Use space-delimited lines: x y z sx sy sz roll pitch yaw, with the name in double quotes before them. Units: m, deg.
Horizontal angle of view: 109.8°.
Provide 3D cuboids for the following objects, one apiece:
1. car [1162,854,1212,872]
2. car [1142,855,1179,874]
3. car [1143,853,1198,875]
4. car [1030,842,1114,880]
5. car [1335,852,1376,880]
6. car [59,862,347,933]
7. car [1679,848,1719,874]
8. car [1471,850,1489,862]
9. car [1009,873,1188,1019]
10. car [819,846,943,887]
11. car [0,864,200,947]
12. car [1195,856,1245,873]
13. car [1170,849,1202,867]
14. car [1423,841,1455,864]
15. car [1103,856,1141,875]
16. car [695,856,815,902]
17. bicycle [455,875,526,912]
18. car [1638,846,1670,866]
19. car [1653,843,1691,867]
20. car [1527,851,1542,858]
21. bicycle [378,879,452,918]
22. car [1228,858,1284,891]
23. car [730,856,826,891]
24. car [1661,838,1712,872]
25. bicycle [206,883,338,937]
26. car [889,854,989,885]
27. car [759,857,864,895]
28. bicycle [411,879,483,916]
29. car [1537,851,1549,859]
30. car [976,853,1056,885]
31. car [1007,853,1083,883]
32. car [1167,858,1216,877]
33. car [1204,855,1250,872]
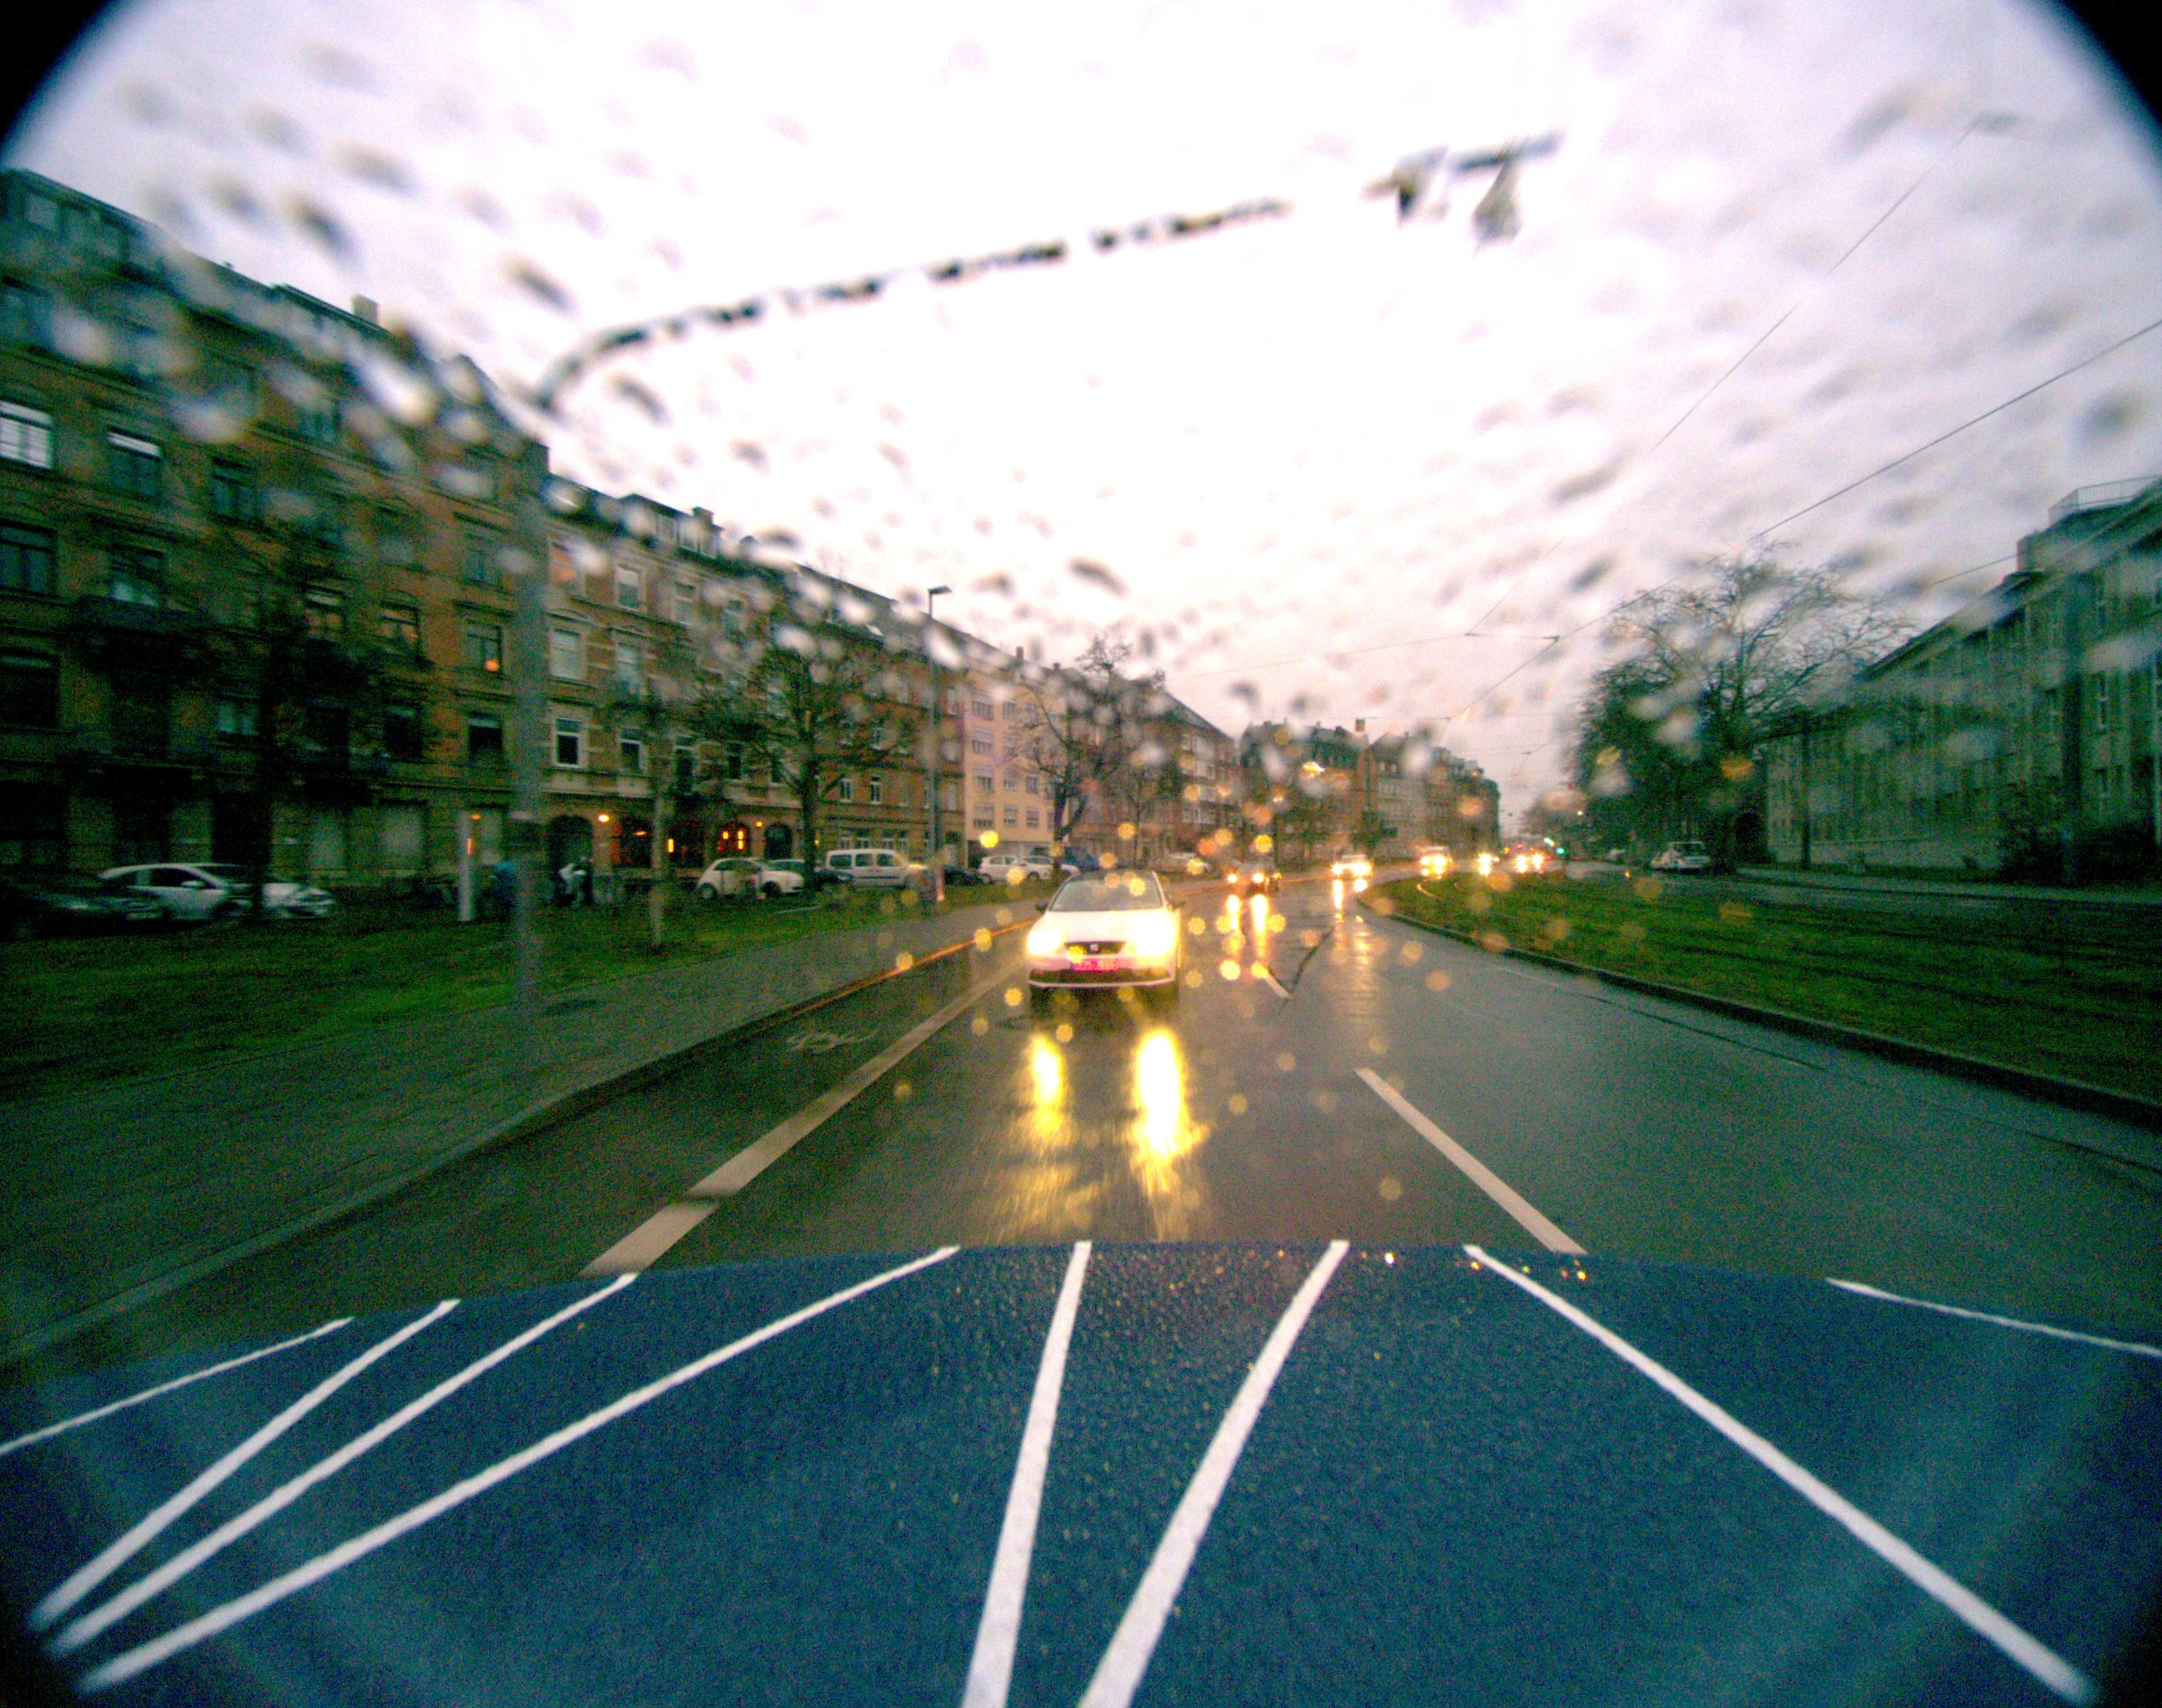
"car" 8.116 0.680 58.260 3.761 1.325 1.602 0 1 9
"car" 7.526 0.983 71.564 1.690 1.534 4.008 -3 0 35
"car" 6.562 0.731 55.753 3.870 1.397 1.695 -3 0 4
"car" -0.565 0.396 44.145 4.721 1.971 1.798 -2 0 -5
"car" 18.061 0.744 49.887 1.671 1.650 4.155 -3 0 31
"car" -18.185 0.862 15.895 3.857 1.329 1.698 -1 0 -3
"car" 37.150 0.418 45.744 1.557 1.420 2.960 -1 1 33
"car" 59.753 0.252 113.790 1.646 1.739 3.562 0 0 40
"car" 0.424 1.042 9.930 1.714 1.404 3.682 -3 0 10
"car" -8.277 0.502 31.710 4.660 1.583 1.777 1 1 1
"car" -18.710 0.921 13.596 3.743 1.346 1.677 -2 -1 -4
"car" 11.305 0.841 61.920 3.763 1.271 1.602 -1 0 2
"car" 10.577 0.398 76.397 1.670 1.693 3.472 -3 0 37
"car" 39.175 -0.211 83.117 2.125 2.366 5.649 -3 0 36
"car" 3.565 0.986 66.188 1.470 1.534 3.880 0 0 35
"car" -11.416 0.867 26.751 3.463 1.434 1.615 -2 0 4
"bicycle" -16.420 1.082 21.121 2.165 0.960 0.627 0 1 26
"car" 48.201 0.148 63.971 1.612 1.650 3.617 -1 0 28
"car" 45.114 0.086 58.072 1.823 1.645 3.866 -3 0 32
"car" 84.341 0.082 141.328 1.892 1.404 3.955 0 0 40
"bicycle" -17.224 1.156 19.652 2.165 0.960 0.627 -2 -2 26
"car" 8.187 0.922 35.409 1.586 1.418 3.140 -1 0 32
"car" -14.620 0.902 36.905 1.733 1.492 4.058 -3 -1 30
"car" 39.460 0.051 49.601 1.995 2.002 4.518 -3 0 32
"bicycle" -15.292 1.041 14.425 1.655 0.931 0.513 0 0 -37
"car" -6.291 0.697 33.980 4.059 1.227 1.771 2 -1 3
"car" -10.319 0.829 29.290 3.431 1.343 1.664 -1 0 -1
"bicycle" -16.911 1.171 20.263 2.165 0.960 0.627 -2 -2 26
"car" 115.784 0.289 190.233 1.948 1.804 4.008 -1 0 40
"car" -3.314 0.743 39.168 3.770 1.424 1.762 -3 0 6
"car" -1.964 0.754 41.316 3.998 1.406 1.641 -3 0 -5
"car" 8.707 1.053 59.903 3.761 1.324 1.603 -3 0 9
"car" 12.588 0.804 65.536 3.761 1.346 1.603 -3 0 9
